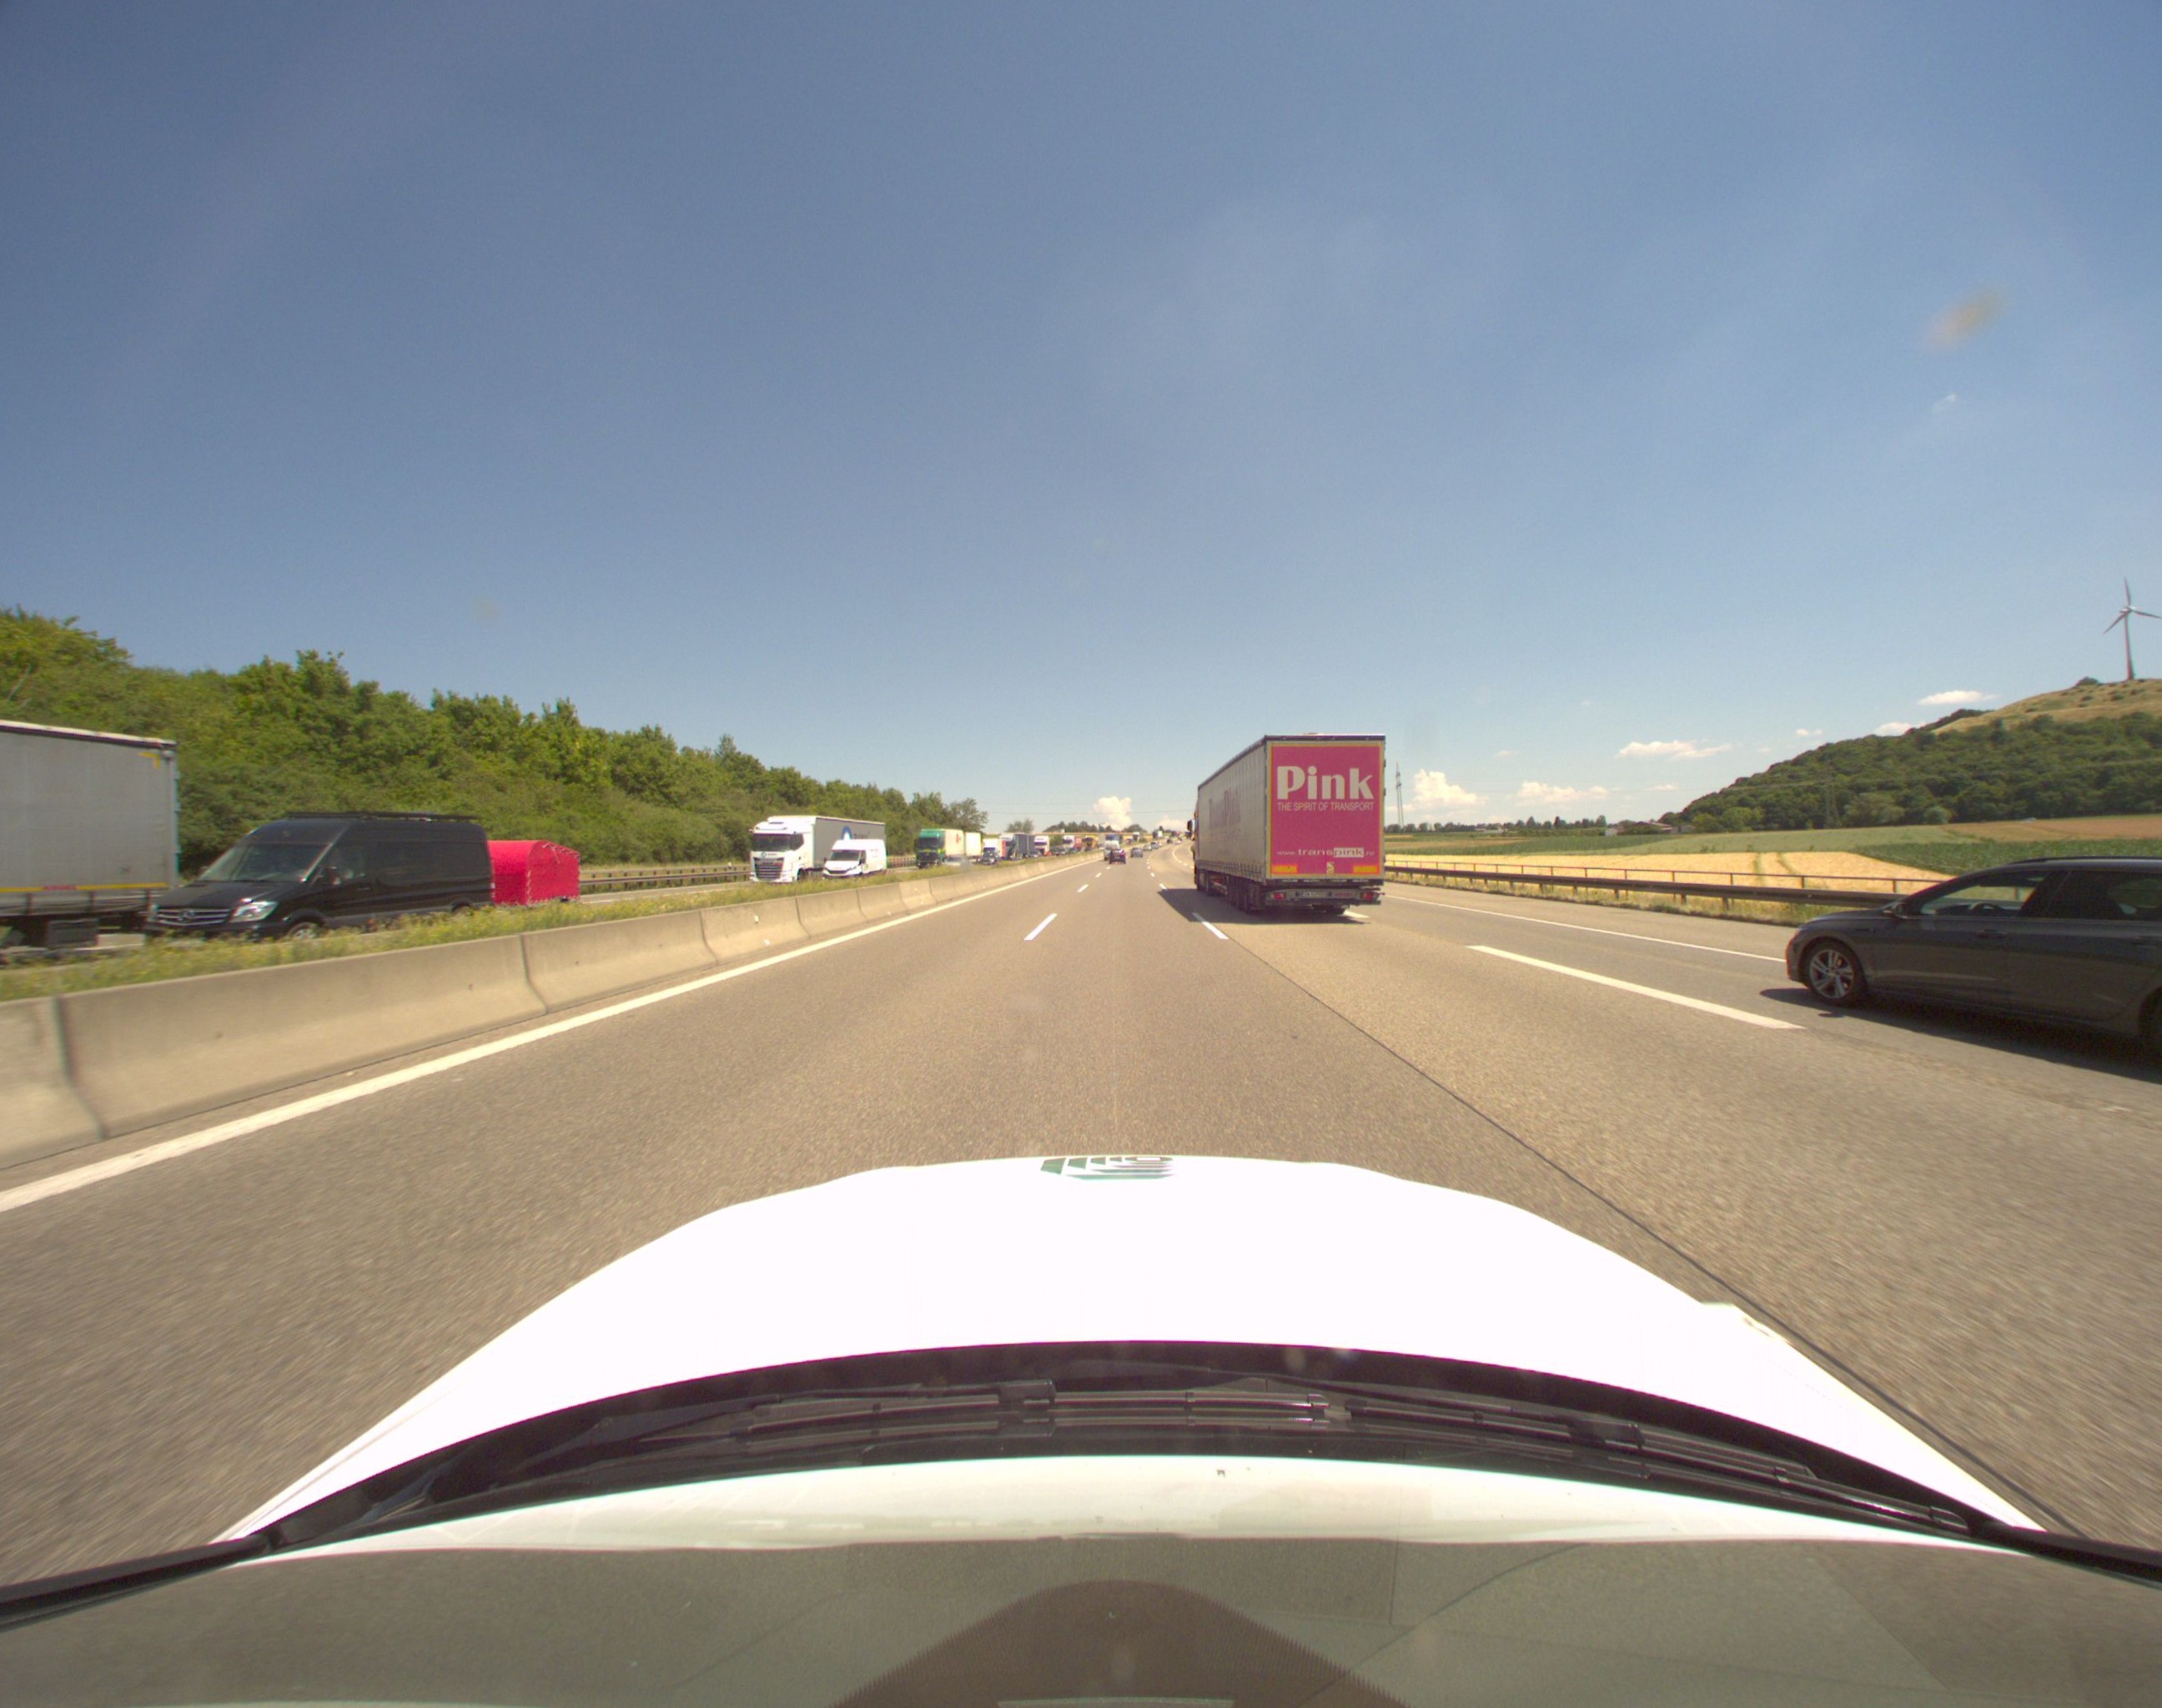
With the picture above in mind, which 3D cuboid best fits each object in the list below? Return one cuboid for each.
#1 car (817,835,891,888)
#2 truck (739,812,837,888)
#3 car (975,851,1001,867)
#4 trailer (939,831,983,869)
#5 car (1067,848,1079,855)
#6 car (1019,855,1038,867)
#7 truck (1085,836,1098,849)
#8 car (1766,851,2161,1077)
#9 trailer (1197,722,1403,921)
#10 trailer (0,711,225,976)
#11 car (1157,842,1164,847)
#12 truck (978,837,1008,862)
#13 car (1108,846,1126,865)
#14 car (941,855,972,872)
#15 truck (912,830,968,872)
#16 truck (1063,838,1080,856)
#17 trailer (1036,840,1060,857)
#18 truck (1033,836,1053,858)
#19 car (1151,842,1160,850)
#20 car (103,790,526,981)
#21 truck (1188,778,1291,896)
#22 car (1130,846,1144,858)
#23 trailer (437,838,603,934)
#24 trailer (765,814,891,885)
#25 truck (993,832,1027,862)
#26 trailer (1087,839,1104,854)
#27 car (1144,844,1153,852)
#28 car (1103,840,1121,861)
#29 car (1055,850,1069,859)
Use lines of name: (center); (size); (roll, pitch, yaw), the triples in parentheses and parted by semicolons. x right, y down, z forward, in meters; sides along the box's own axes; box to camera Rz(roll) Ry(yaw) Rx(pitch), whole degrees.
car: (-12.932, 0.473, 46.908); (2.130, 2.786, 6.629); (-1, -1, 3)
truck: (-16.897, -0.225, 47.495); (2.841, 4.036, 6.610); (-1, 0, 3)
car: (-10.000, 0.580, 87.958); (1.853, 1.641, 5.118); (-1, -1, 3)
trailer: (-13.590, -0.481, 93.138); (2.906, 4.071, 8.243); (-2, 0, 5)
car: (-1.603, -0.552, 168.265); (1.984, 1.455, 5.178); (-1, 0, 5)
car: (-7.650, 0.985, 119.793); (1.985, 1.545, 5.501); (-1, 0, 4)
truck: (3.098, -3.308, 234.954); (2.734, 3.836, 7.117); (-1, 1, 9)
car: (8.039, 0.724, 6.337); (1.754, 1.471, 4.539); (-1, 0, 3)
trailer: (5.544, -0.691, 23.873); (2.906, 4.117, 13.868); (-1, 0, 3)
trailer: (-18.817, -0.185, 9.088); (2.969, 4.206, 14.203); (-1, 0, 3)
car: (22.849, -2.719, 234.210); (1.983, 1.551, 4.008); (0, 2, 7)
truck: (-11.832, -0.651, 110.010); (2.527, 3.207, 7.599); (-1, 1, 5)
car: (3.892, 0.154, 87.408); (1.839, 1.860, 4.211); (-1, 2, 4)
car: (-11.048, 0.839, 72.468); (1.744, 1.460, 4.862); (-1, -1, 3)
truck: (-14.463, -0.346, 84.398); (2.829, 3.898, 11.262); (-2, 0, 5)
truck: (-2.284, -1.741, 192.822); (3.019, 4.081, 6.329); (-1, 1, 7)
trailer: (-6.389, -1.151, 160.683); (2.843, 3.205, 12.807); (-1, 1, 6)
truck: (-7.133, -1.349, 154.125); (2.886, 3.876, 6.189); (-1, 1, 6)
car: (18.612, -2.034, 203.696); (1.985, 1.904, 4.002); (-1, -1, 3)
car: (-14.575, 0.486, 16.401); (2.229, 3.014, 6.551); (-2, 0, 0)
truck: (5.826, -0.592, 30.992); (2.904, 4.008, 6.515); (-1, 0, 3)
car: (8.650, -0.302, 124.616); (1.983, 1.750, 4.006); (-1, -1, 6)
trailer: (-14.686, 0.763, 21.609); (1.564, 2.253, 3.961); (-2, 0, 0)
trailer: (-16.436, -0.283, 54.663); (2.889, 4.086, 14.462); (-1, 0, 4)
truck: (-10.672, -1.135, 123.805); (2.986, 4.233, 10.752); (-1, 1, 6)
trailer: (4.270, -2.333, 241.966); (2.935, 4.100, 14.420); (-1, 1, 9)
car: (15.097, -1.338, 181.925); (1.985, 1.585, 4.004); (-2, 0, 3)
car: (4.031, -0.427, 104.855); (2.170, 2.625, 4.677); (-1, -1, 4)
car: (-3.504, 0.133, 150.992); (1.984, 1.527, 4.780); (-1, 1, 5)
